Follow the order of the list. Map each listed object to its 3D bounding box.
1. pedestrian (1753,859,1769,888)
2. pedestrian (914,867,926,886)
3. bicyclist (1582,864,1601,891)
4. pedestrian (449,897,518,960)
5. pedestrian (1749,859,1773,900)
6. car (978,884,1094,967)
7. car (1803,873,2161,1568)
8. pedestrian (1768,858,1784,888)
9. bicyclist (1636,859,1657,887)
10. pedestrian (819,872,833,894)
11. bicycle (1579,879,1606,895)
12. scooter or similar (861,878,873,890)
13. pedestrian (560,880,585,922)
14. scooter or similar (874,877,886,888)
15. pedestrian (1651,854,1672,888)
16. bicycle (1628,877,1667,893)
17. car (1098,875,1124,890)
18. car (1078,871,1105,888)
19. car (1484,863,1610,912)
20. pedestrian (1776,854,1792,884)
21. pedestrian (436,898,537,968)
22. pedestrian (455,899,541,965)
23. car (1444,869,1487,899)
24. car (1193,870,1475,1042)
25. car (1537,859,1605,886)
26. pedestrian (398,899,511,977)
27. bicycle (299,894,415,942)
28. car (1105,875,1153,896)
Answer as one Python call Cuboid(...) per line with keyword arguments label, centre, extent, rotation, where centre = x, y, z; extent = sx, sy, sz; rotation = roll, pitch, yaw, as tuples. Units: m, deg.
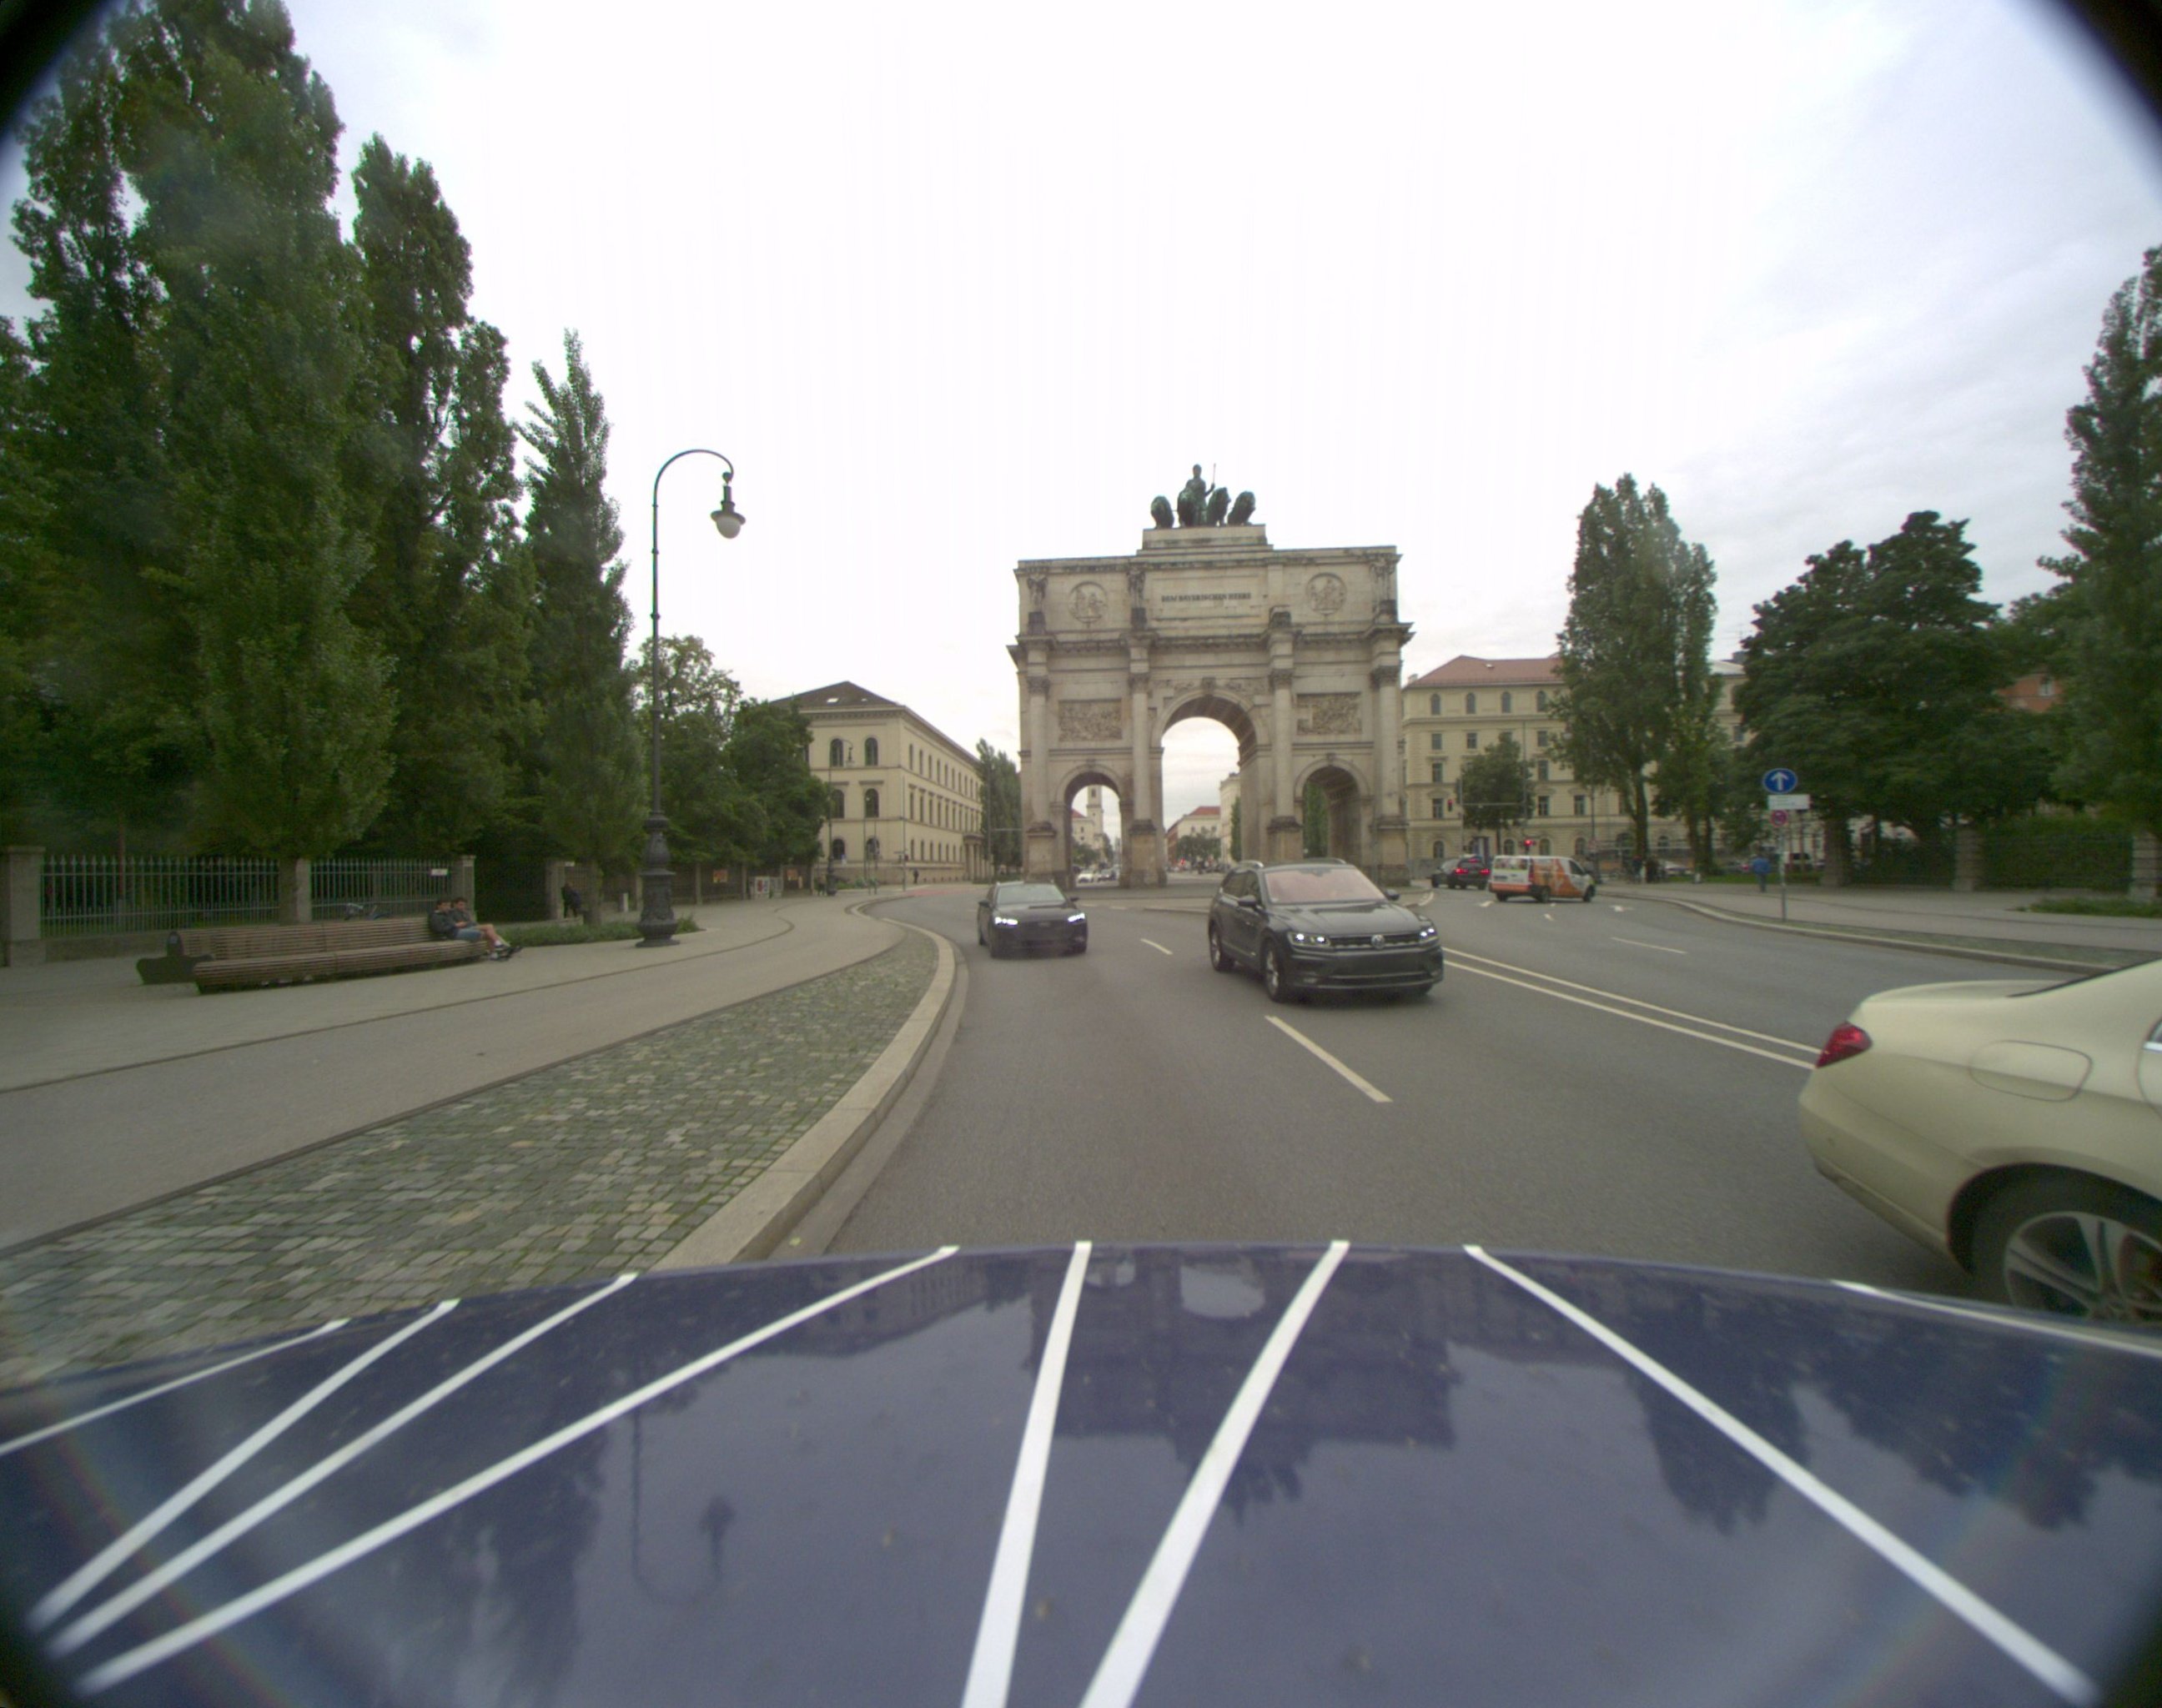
Cuboid(label="pedestrian", centre=(46.852, 1.325, 52.320), extent=(0.533, 2.001, 0.594), rotation=(-1, -1, -7))
Cuboid(label="pedestrian", centre=(-17.275, 2.443, 81.585), extent=(0.944, 2.001, 1.003), rotation=(-1, -1, 4))
Cuboid(label="bicyclist", centre=(31.663, 1.451, 47.117), extent=(0.643, 1.699, 0.861), rotation=(-1, -1, 8))
Cuboid(label="pedestrian", centre=(-12.394, 1.532, 15.785), extent=(1.004, 1.206, 0.565), rotation=(-2, -1, -27))
Cuboid(label="pedestrian", centre=(30.298, 1.134, 33.857), extent=(0.752, 1.775, 0.917), rotation=(-1, -1, 41))
Cuboid(label="car", centre=(-1.105, 1.372, 15.949), extent=(1.924, 1.320, 4.408), rotation=(-3, -1, -10))
Cuboid(label="car", centre=(3.413, 0.829, 0.244), extent=(1.919, 1.565, 4.690), rotation=(-3, -1, 2))
Cuboid(label="pedestrian", centre=(47.331, 1.301, 51.754), extent=(0.533, 2.001, 0.594), rotation=(-1, -1, -7))
Cuboid(label="bicyclist", centre=(34.359, 1.171, 46.181), extent=(0.645, 1.699, 0.858), rotation=(0, -1, -39))
Cuboid(label="pedestrian", centre=(-18.674, 2.101, 55.685), extent=(0.738, 1.588, 0.818), rotation=(-1, -1, 5))
Cuboid(label="bicycle", centre=(31.654, 2.031, 47.046), extent=(0.643, 0.967, 1.763), rotation=(-1, -1, 8))
Cuboid(label="scooter or similar", centre=(-20.839, 2.914, 74.121), extent=(0.567, 1.134, 1.657), rotation=(-1, -1, 5))
Cuboid(label="pedestrian", centre=(-20.106, 1.851, 30.037), extent=(0.590, 1.610, 0.537), rotation=(-2, 0, 3))
Cuboid(label="scooter or similar", centre=(-19.745, 2.792, 74.610), extent=(0.567, 1.134, 1.657), rotation=(-1, -1, 5))
Cuboid(label="pedestrian", centre=(35.349, 1.038, 46.297), extent=(0.796, 2.001, 0.754), rotation=(0, -1, -31))
Cuboid(label="bicycle", centre=(34.399, 1.887, 46.154), extent=(0.645, 0.967, 1.757), rotation=(0, -1, -40))
Cuboid(label="car", centre=(3.625, 3.416, 90.612), extent=(1.784, 1.739, 4.328), rotation=(-1, -1, 22))
Cuboid(label="car", centre=(1.221, 2.851, 85.640), extent=(1.784, 1.739, 4.327), rotation=(-1, -1, 19))
Cuboid(label="car", centre=(19.120, 1.308, 31.141), extent=(4.997, 1.844, 2.001), rotation=(0, 0, -26))
Cuboid(label="pedestrian", centre=(47.897, 1.005, 51.784), extent=(0.533, 2.001, 0.594), rotation=(-1, -1, -7))
Cuboid(label="pedestrian", centre=(-11.477, 1.504, 14.735), extent=(1.371, 1.200, 0.807), rotation=(-2, -1, -25))
Cuboid(label="pedestrian", centre=(-11.808, 1.560, 15.429), extent=(1.268, 1.209, 0.574), rotation=(-2, -1, -27))
Cuboid(label="car", centre=(22.954, 1.758, 45.513), extent=(1.783, 1.661, 4.006), rotation=(-1, -1, 20))
Cuboid(label="car", centre=(2.909, 1.082, 9.930), extent=(1.954, 1.614, 4.411), rotation=(-3, -1, -3))
Cuboid(label="car", centre=(38.633, 1.448, 59.943), extent=(3.996, 2.001, 2.001), rotation=(-1, -1, 3))
Cuboid(label="pedestrian", centre=(-11.247, 1.479, 13.694), extent=(1.331, 1.267, 0.807), rotation=(-2, -1, -19))
Cuboid(label="bicycle", centre=(-21.467, 1.857, 22.650), extent=(0.674, 1.232, 2.999), rotation=(0, -1, -3))
Cuboid(label="car", centre=(4.512, 2.977, 72.045), extent=(4.310, 1.846, 1.891), rotation=(-1, -1, -2))
